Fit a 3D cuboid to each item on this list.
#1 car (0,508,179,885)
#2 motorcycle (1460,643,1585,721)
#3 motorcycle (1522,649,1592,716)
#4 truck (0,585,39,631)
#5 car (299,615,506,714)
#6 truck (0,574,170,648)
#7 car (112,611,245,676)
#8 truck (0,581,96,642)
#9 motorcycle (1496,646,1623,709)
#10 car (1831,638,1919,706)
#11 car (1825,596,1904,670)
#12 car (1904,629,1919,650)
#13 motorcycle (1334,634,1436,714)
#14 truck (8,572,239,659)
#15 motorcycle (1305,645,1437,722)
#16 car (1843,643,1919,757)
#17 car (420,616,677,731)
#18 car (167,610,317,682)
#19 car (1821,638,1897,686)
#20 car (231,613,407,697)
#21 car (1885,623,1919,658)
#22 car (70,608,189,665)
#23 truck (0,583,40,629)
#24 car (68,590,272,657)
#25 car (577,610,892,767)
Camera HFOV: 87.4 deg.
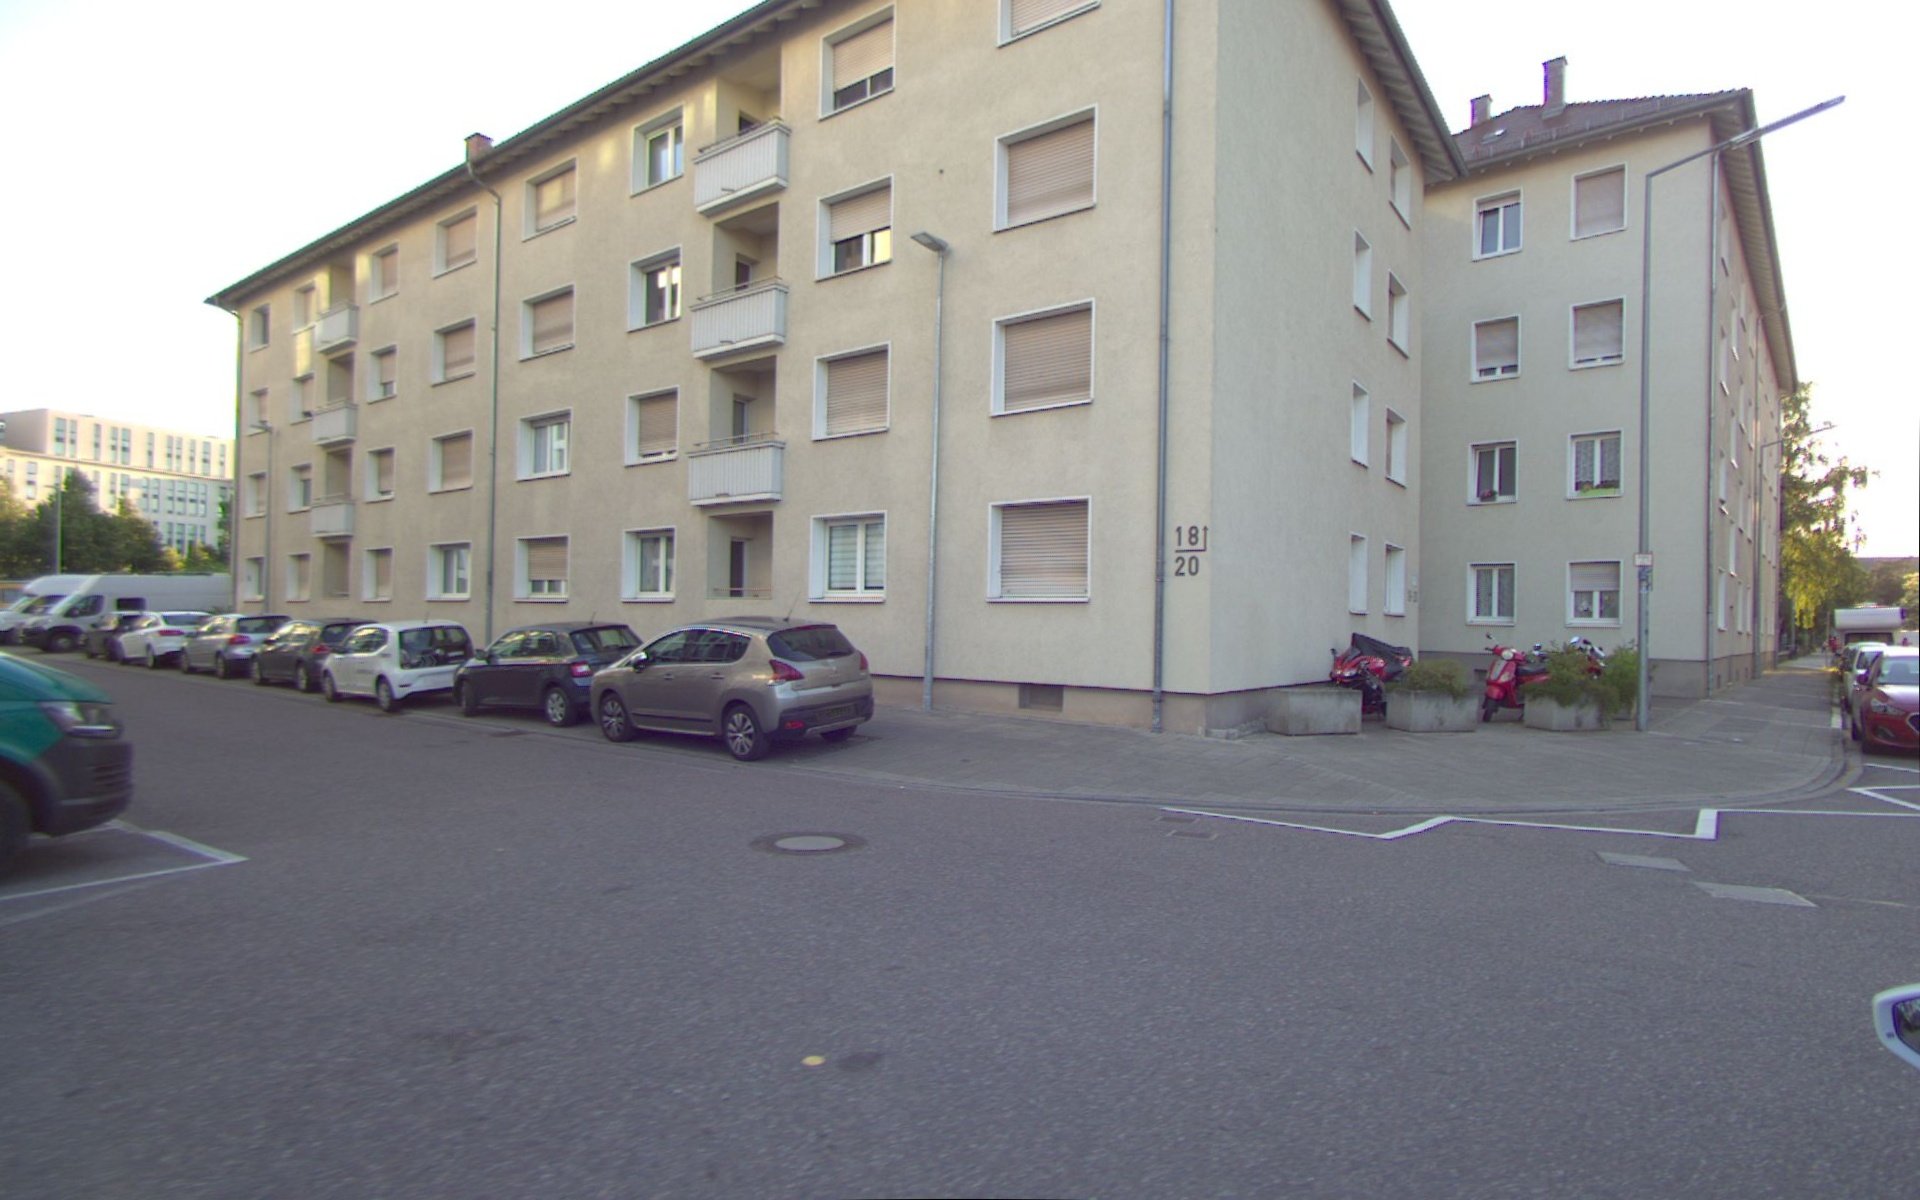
[{"bbox_3d":[-6.778,0.439,4.638,1.775,2.005,4.671,0,-2,38],"label":"car"},{"bbox_3d":[9.033,1.304,16.119,2.006,1.176,0.687,2,-1,-24],"label":"motorcycle"},{"bbox_3d":[10.640,1.431,17.860,0.674,1.093,2.023,0,-2,42],"label":"motorcycle"},{"bbox_3d":[-56.338,0.537,56.715,2.301,2.532,5.977,0,3,36],"label":"truck"},{"bbox_3d":[-10.315,1.099,18.514,3.885,1.504,1.873,0,3,37],"label":"car"},{"bbox_3d":[-38.241,0.408,43.413,2.301,2.884,5.977,0,3,36],"label":"truck"},{"bbox_3d":[-21.215,1.118,27.235,3.885,1.504,1.873,0,3,37],"label":"car"},{"bbox_3d":[-46.908,0.579,49.603,2.301,2.884,5.977,0,3,36],"label":"truck"},{"bbox_3d":[11.783,1.494,19.820,0.555,1.120,2.108,2,-1,-36],"label":"motorcycle"},{"bbox_3d":[21.790,1.657,23.825,1.597,1.492,3.489,-2,-3,40],"label":"car"},{"bbox_3d":[43.778,1.633,48.727,2.591,3.311,7.656,-2,-3,42],"label":"car"},{"bbox_3d":[111.459,4.545,114.982,4.759,2.439,1.730,-2,-3,42],"label":"car"},{"bbox_3d":[7.365,1.256,17.363,2.063,1.281,0.718,2,-1,-38],"label":"motorcycle"},{"bbox_3d":[-30.149,0.450,36.441,2.301,2.759,5.977,0,3,36],"label":"truck"},{"bbox_3d":[6.288,1.261,15.343,2.055,1.093,0.720,2,-1,-28],"label":"motorcycle"},{"bbox_3d":[14.236,1.408,14.726,1.823,1.492,4.059,0,-2,40],"label":"car"},{"bbox_3d":[-6.666,1.081,16.206,3.951,1.521,1.875,0,2,33],"label":"car"},{"bbox_3d":[-17.528,1.058,24.480,3.885,1.504,1.873,0,3,37],"label":"car"},{"bbox_3d":[28.786,1.950,32.254,1.633,1.453,3.778,-2,-3,40],"label":"car"},{"bbox_3d":[-13.679,1.092,21.379,3.885,1.504,1.873,0,3,37],"label":"car"},{"bbox_3d":[75.861,3.258,80.619,2.104,2.753,4.811,-2,-3,40],"label":"car"},{"bbox_3d":[-25.024,1.049,30.249,3.885,1.504,1.873,0,3,37],"label":"car"},{"bbox_3d":[-63.439,0.453,64.540,2.301,2.884,5.977,0,3,36],"label":"truck"},{"bbox_3d":[-26.880,0.716,34.350,2.301,1.939,4.982,0,3,36],"label":"car"},{"bbox_3d":[-3.004,1.002,13.112,3.956,1.640,1.873,0,3,37],"label":"car"}]
